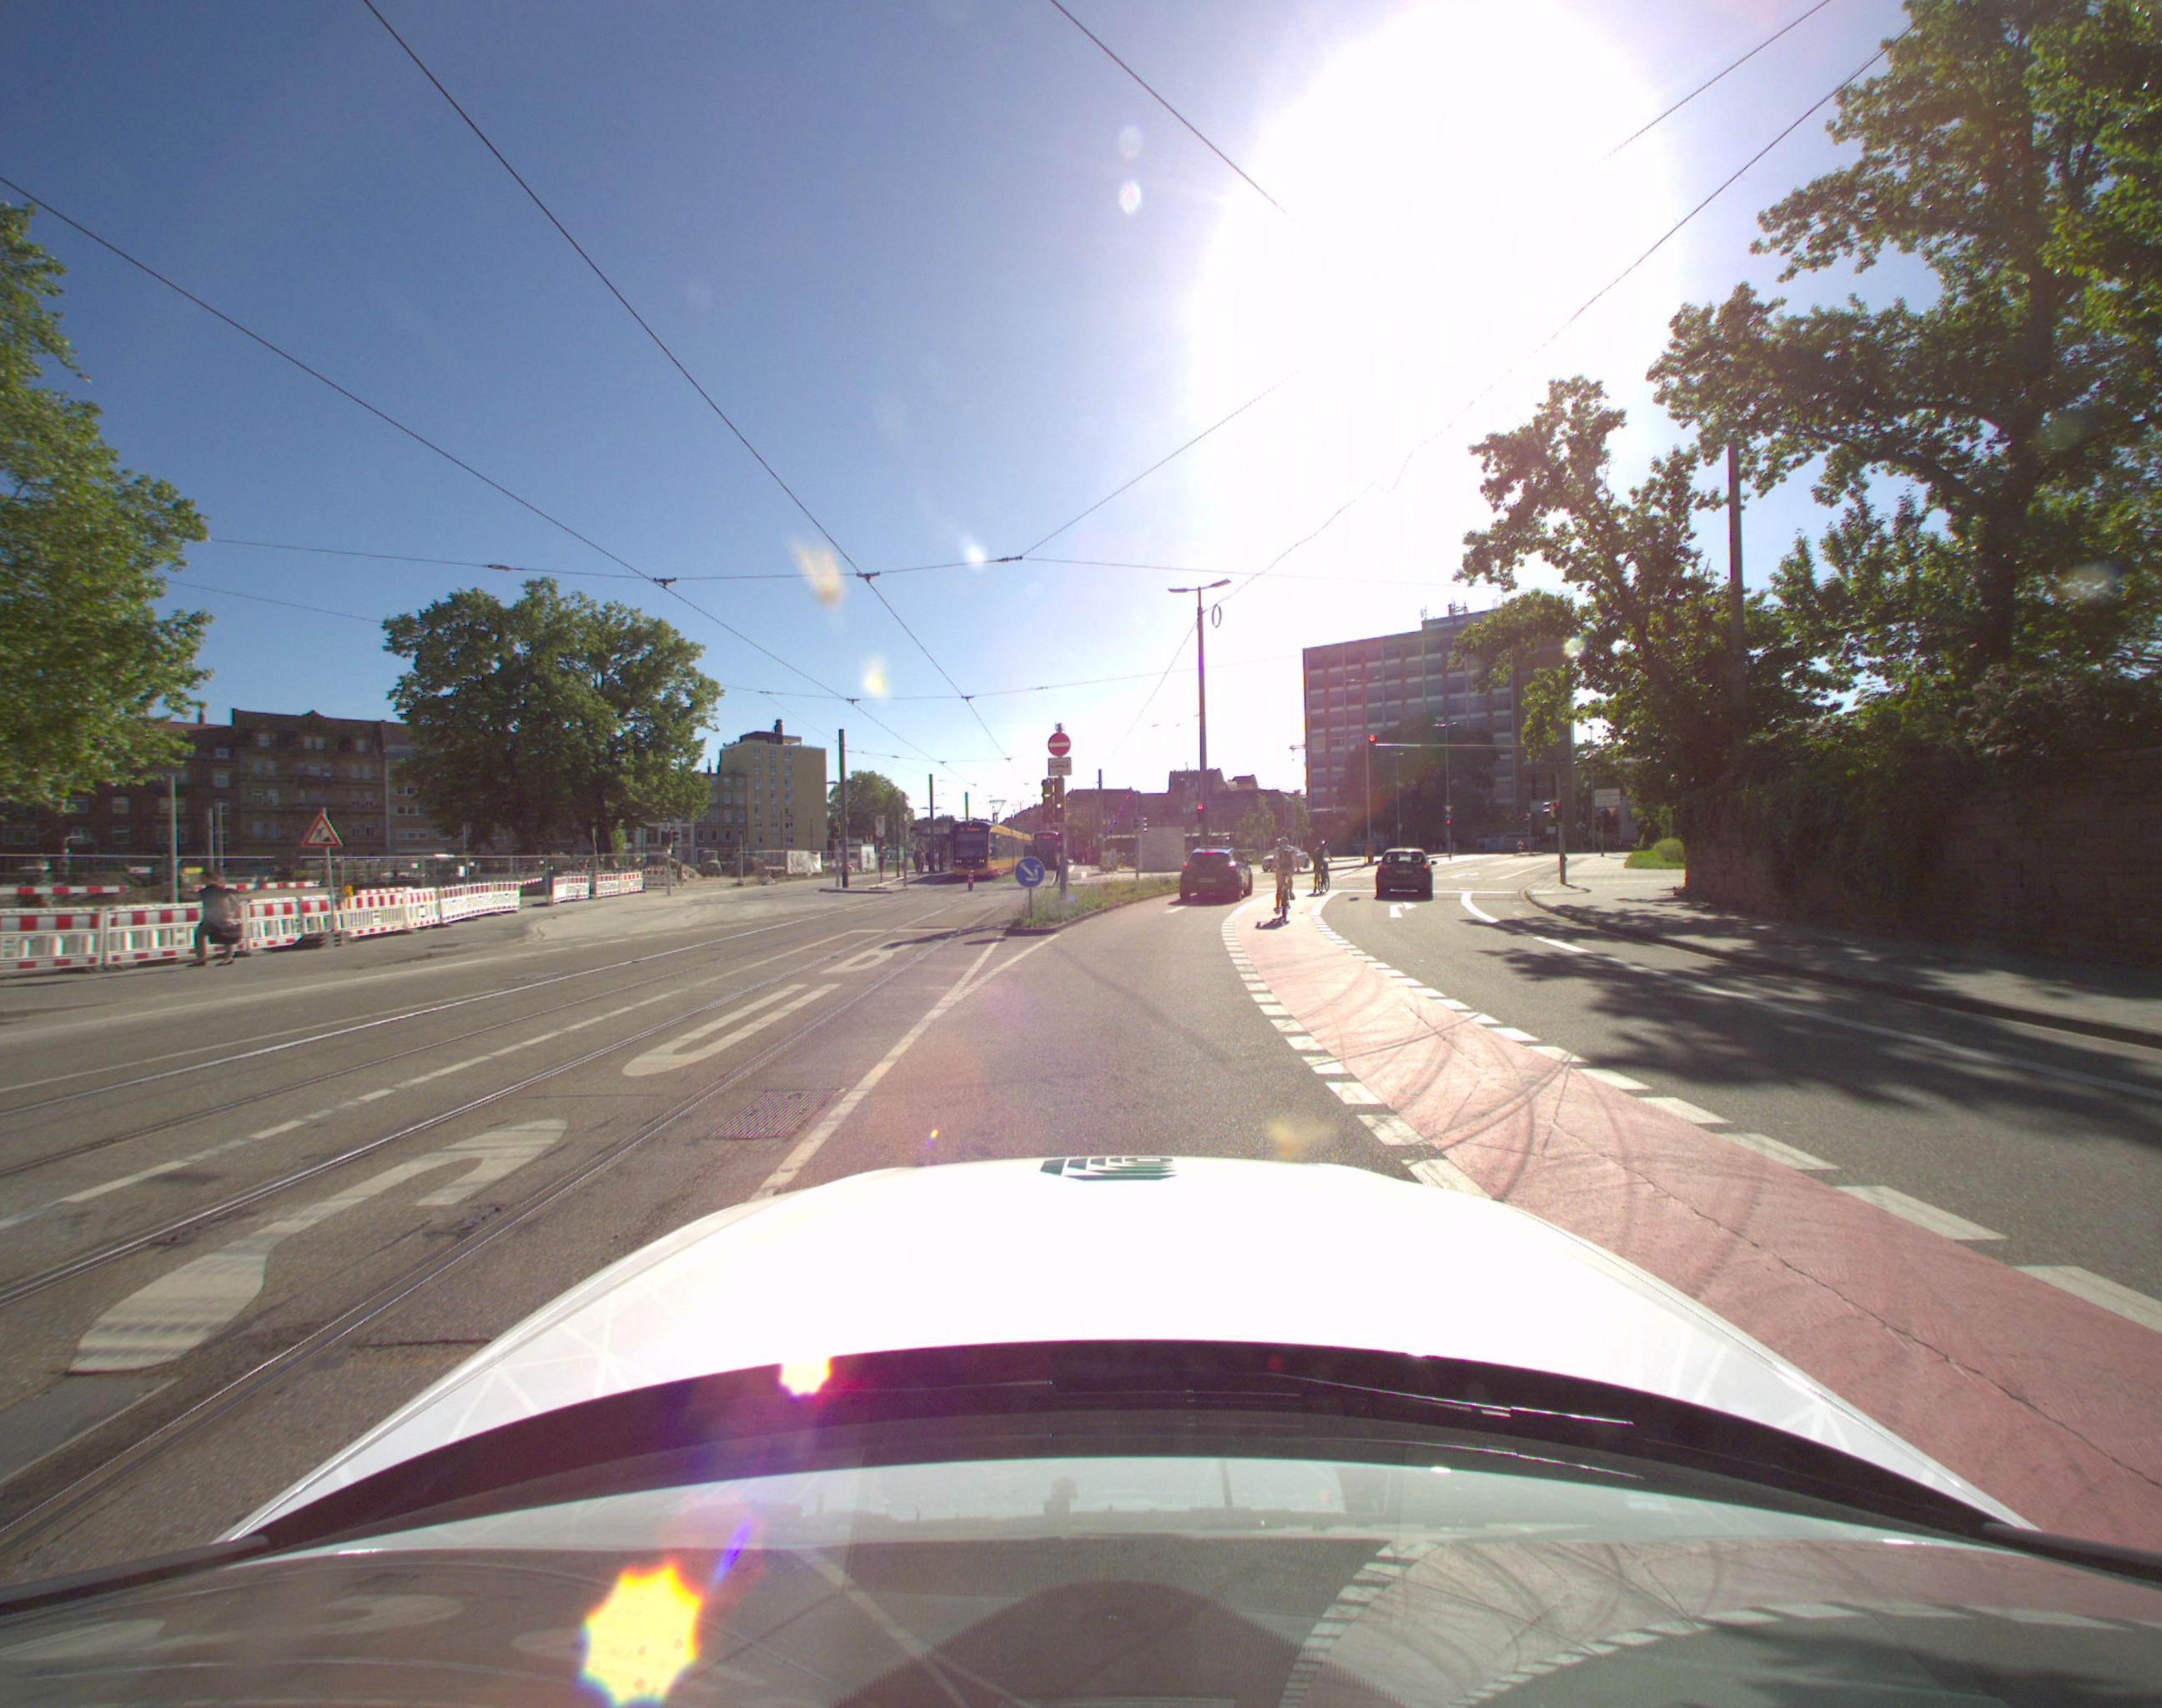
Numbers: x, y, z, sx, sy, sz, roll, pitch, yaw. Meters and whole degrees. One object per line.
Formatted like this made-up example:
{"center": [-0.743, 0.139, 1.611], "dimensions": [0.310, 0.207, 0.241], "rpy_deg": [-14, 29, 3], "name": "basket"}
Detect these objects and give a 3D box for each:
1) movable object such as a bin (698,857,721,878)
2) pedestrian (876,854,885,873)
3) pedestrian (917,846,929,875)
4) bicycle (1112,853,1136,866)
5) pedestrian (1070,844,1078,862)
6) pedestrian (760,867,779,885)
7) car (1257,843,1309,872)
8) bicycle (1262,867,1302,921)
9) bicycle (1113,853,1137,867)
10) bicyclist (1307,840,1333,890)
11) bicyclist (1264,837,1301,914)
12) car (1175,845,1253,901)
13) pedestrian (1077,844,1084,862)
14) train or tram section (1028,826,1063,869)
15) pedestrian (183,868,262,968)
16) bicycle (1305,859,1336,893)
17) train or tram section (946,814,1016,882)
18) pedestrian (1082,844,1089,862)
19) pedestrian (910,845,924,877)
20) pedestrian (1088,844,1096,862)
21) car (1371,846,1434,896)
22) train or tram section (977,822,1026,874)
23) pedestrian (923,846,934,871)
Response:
{"center": [-37.252, 1.359, 81.779], "dimensions": [1.926, 2.013, 3.970], "rpy_deg": [-1, 0, -23], "name": "movable object such as a bin"}
{"center": [-18.286, 0.860, 74.452], "dimensions": [0.624, 1.697, 0.662], "rpy_deg": [-1, 0, -1], "name": "pedestrian"}
{"center": [-10.315, 0.420, 53.235], "dimensions": [0.624, 1.827, 0.662], "rpy_deg": [-1, 0, -1], "name": "pedestrian"}
{"center": [3.626, 0.461, 68.028], "dimensions": [1.929, 1.103, 0.598], "rpy_deg": [-1, 0, -3], "name": "bicycle"}
{"center": [-0.791, -0.108, 90.352], "dimensions": [0.660, 1.953, 0.626], "rpy_deg": [-1, 0, -12], "name": "pedestrian"}
{"center": [-18.874, 1.309, 49.320], "dimensions": [0.894, 1.046, 0.655], "rpy_deg": [-1, 0, 0], "name": "pedestrian"}
{"center": [11.823, 0.168, 47.476], "dimensions": [1.685, 1.643, 3.736], "rpy_deg": [0, 0, 35], "name": "car"}
{"center": [4.550, 0.866, 18.341], "dimensions": [0.699, 1.104, 1.726], "rpy_deg": [0, 1, 20], "name": "bicycle"}
{"center": [3.645, 0.458, 67.259], "dimensions": [1.929, 1.103, 0.598], "rpy_deg": [-1, 0, -3], "name": "bicycle"}
{"center": [8.205, 0.358, 27.893], "dimensions": [0.698, 1.700, 0.993], "rpy_deg": [1, 1, 25], "name": "bicyclist"}
{"center": [4.558, 0.469, 18.359], "dimensions": [0.699, 1.675, 1.107], "rpy_deg": [0, 0, 20], "name": "bicyclist"}
{"center": [4.203, 0.519, 25.259], "dimensions": [1.774, 1.604, 3.730], "rpy_deg": [0, 0, 19], "name": "car"}
{"center": [-0.038, -0.116, 92.099], "dimensions": [0.660, 1.953, 0.626], "rpy_deg": [-1, 0, -12], "name": "pedestrian"}
{"center": [-3.219, -0.653, 76.991], "dimensions": [2.734, 3.651, 13.781], "rpy_deg": [-1, 0, -1], "name": "train or tram section"}
{"center": [-15.016, 1.102, 14.258], "dimensions": [0.616, 1.697, 0.680], "rpy_deg": [-1, 0, 3], "name": "pedestrian"}
{"center": [8.251, 0.729, 28.006], "dimensions": [0.698, 1.055, 2.327], "rpy_deg": [1, 1, 25], "name": "bicycle"}
{"center": [-6.075, -0.392, 51.848], "dimensions": [2.734, 3.651, 13.781], "rpy_deg": [-1, 0, -1], "name": "train or tram section"}
{"center": [0.520, -0.123, 92.679], "dimensions": [0.660, 1.953, 0.626], "rpy_deg": [-1, 0, -12], "name": "pedestrian"}
{"center": [-9.415, 0.385, 46.780], "dimensions": [0.624, 1.827, 0.662], "rpy_deg": [-1, 0, -1], "name": "pedestrian"}
{"center": [1.246, -0.141, 90.771], "dimensions": [0.660, 1.953, 0.626], "rpy_deg": [-1, 0, -12], "name": "pedestrian"}
{"center": [10.509, 0.498, 26.502], "dimensions": [1.773, 1.511, 3.733], "rpy_deg": [0, 0, 23], "name": "car"}
{"center": [-6.158, -0.494, 65.022], "dimensions": [2.734, 3.651, 12.540], "rpy_deg": [-1, 0, -1], "name": "train or tram section"}
{"center": [-11.112, 0.328, 59.215], "dimensions": [0.624, 1.827, 0.662], "rpy_deg": [-1, 0, -1], "name": "pedestrian"}
